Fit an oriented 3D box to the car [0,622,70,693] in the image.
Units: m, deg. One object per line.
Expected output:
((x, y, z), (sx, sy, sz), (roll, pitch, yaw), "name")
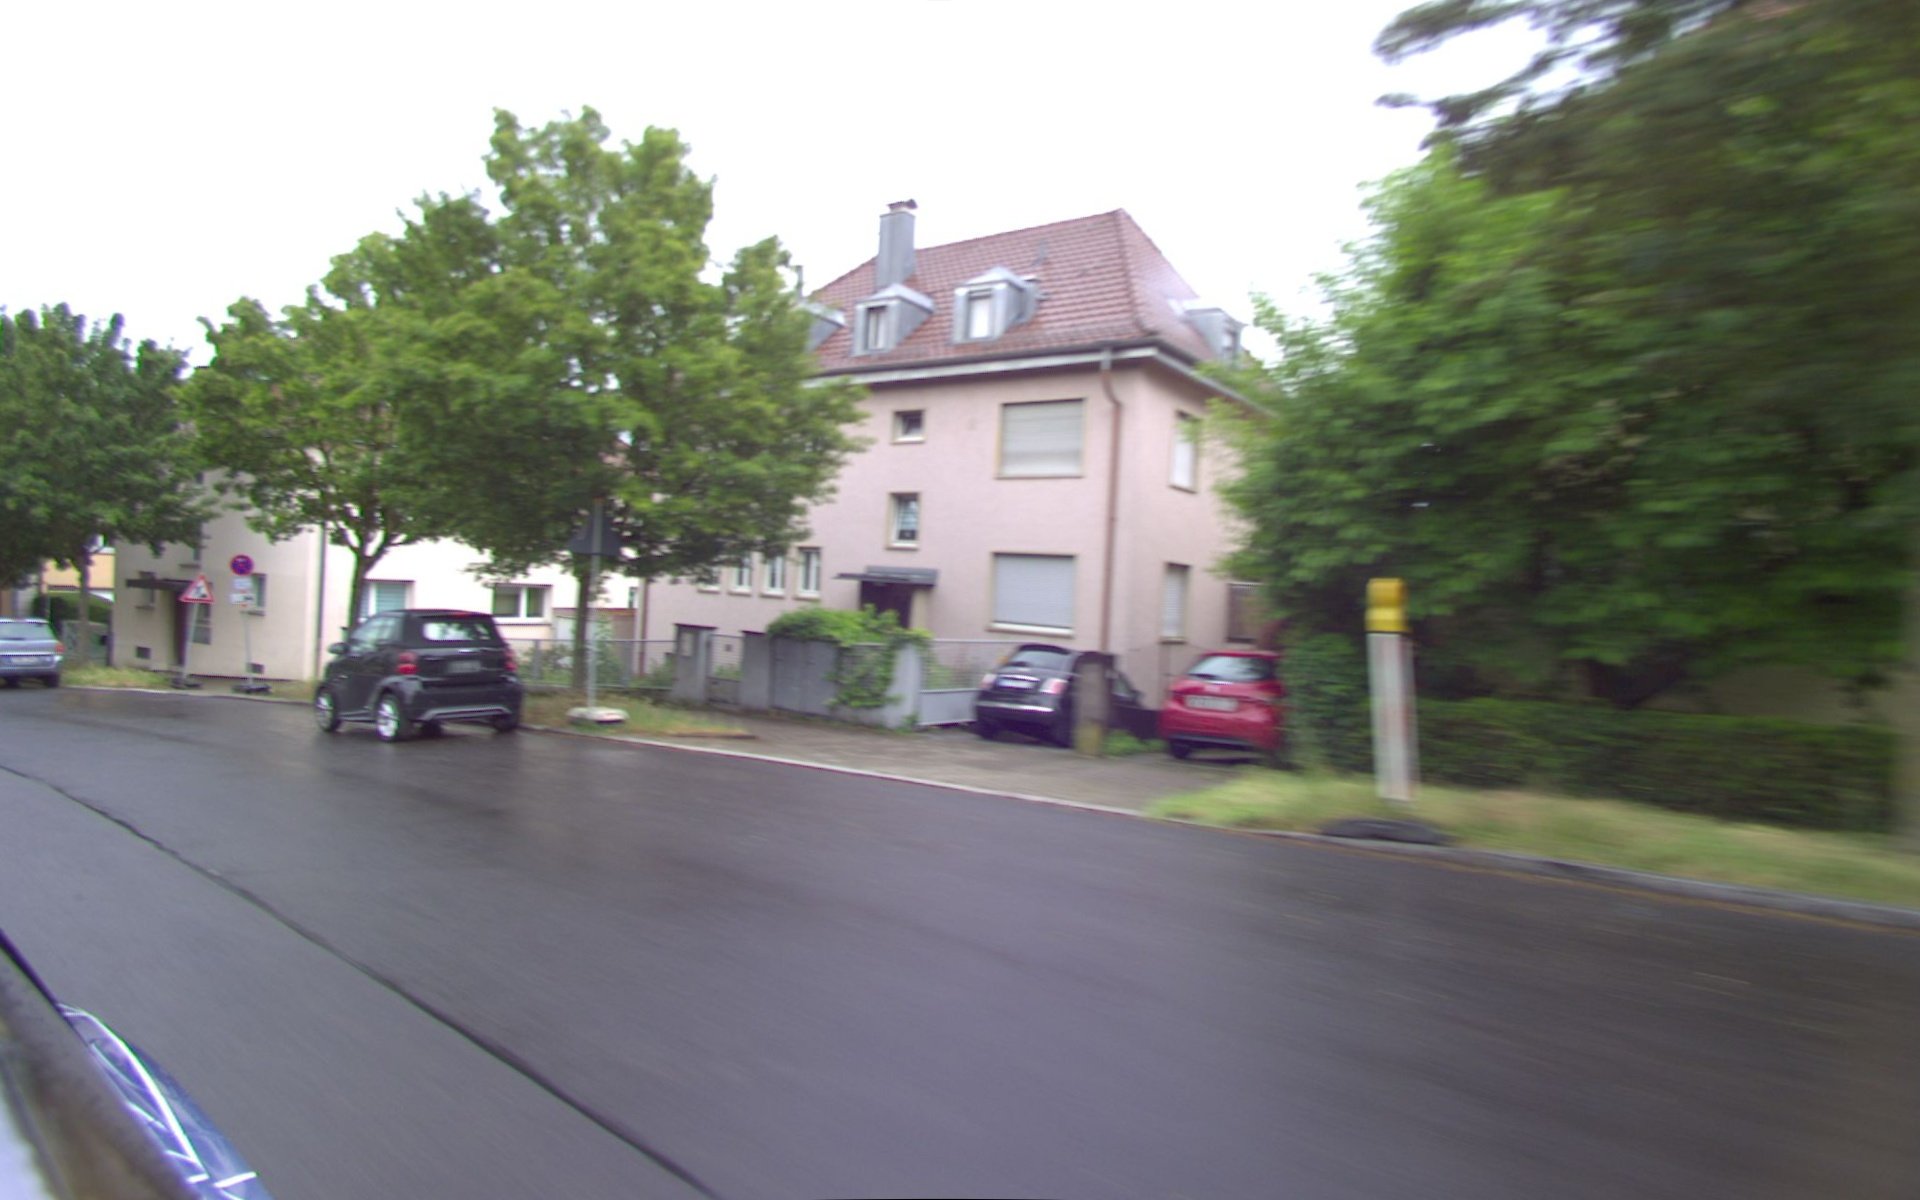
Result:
((-22.704, 1.289, 23.595), (4.280, 1.557, 1.704), (0, -3, 32), "car")

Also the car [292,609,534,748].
((-6.929, 0.910, 12.761), (3.030, 1.546, 1.504), (-1, -2, 36), "car")

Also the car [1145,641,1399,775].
((4.246, 1.485, 13.376), (1.778, 1.405, 3.878), (0, -8, 40), "car")

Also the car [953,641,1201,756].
((1.893, 1.536, 15.380), (1.827, 1.371, 3.878), (0, -8, 40), "car")
